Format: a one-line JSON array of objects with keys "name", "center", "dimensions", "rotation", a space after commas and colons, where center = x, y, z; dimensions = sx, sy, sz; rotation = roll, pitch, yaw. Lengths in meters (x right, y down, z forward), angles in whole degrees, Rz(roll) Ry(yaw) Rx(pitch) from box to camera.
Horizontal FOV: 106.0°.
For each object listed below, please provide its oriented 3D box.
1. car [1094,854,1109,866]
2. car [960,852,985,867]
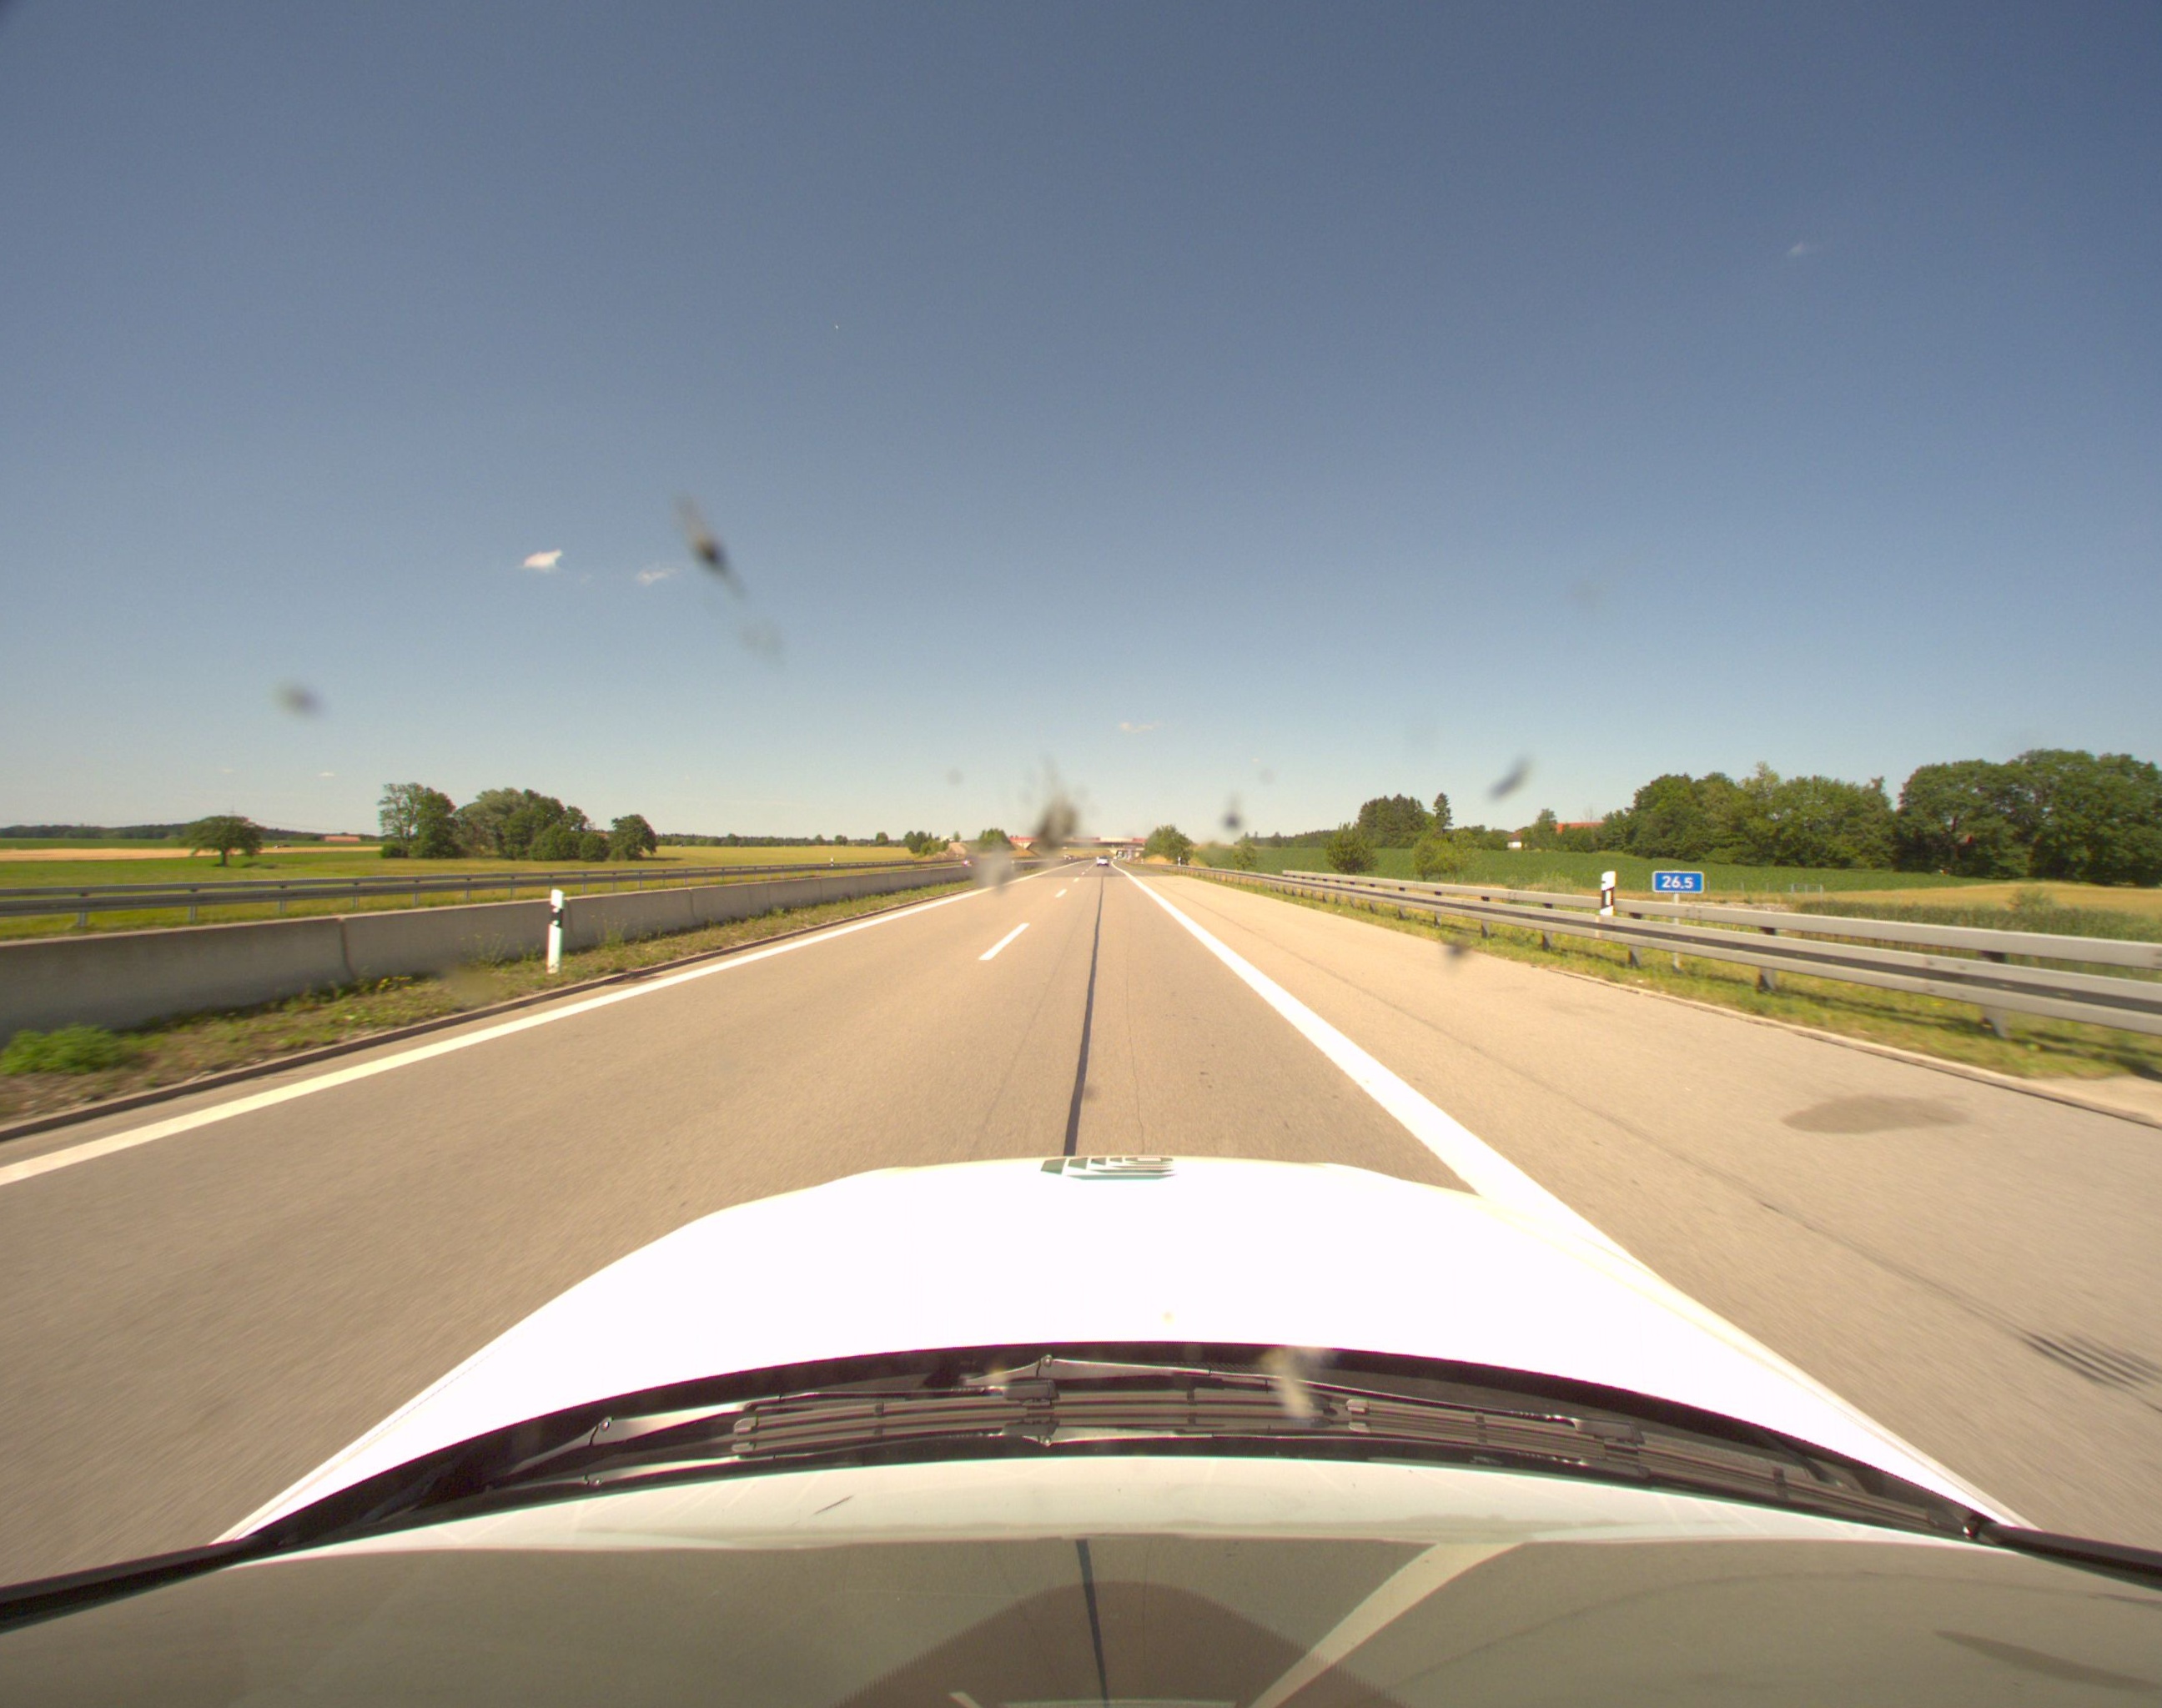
[{"name": "car", "center": [3.151, 0.954, 125.955], "dimensions": [1.988, 1.731, 4.865], "rotation": [0, 0, -2]}, {"name": "car", "center": [-11.596, 0.608, 87.430], "dimensions": [1.891, 1.523, 4.807], "rotation": [-2, 0, 2]}]
